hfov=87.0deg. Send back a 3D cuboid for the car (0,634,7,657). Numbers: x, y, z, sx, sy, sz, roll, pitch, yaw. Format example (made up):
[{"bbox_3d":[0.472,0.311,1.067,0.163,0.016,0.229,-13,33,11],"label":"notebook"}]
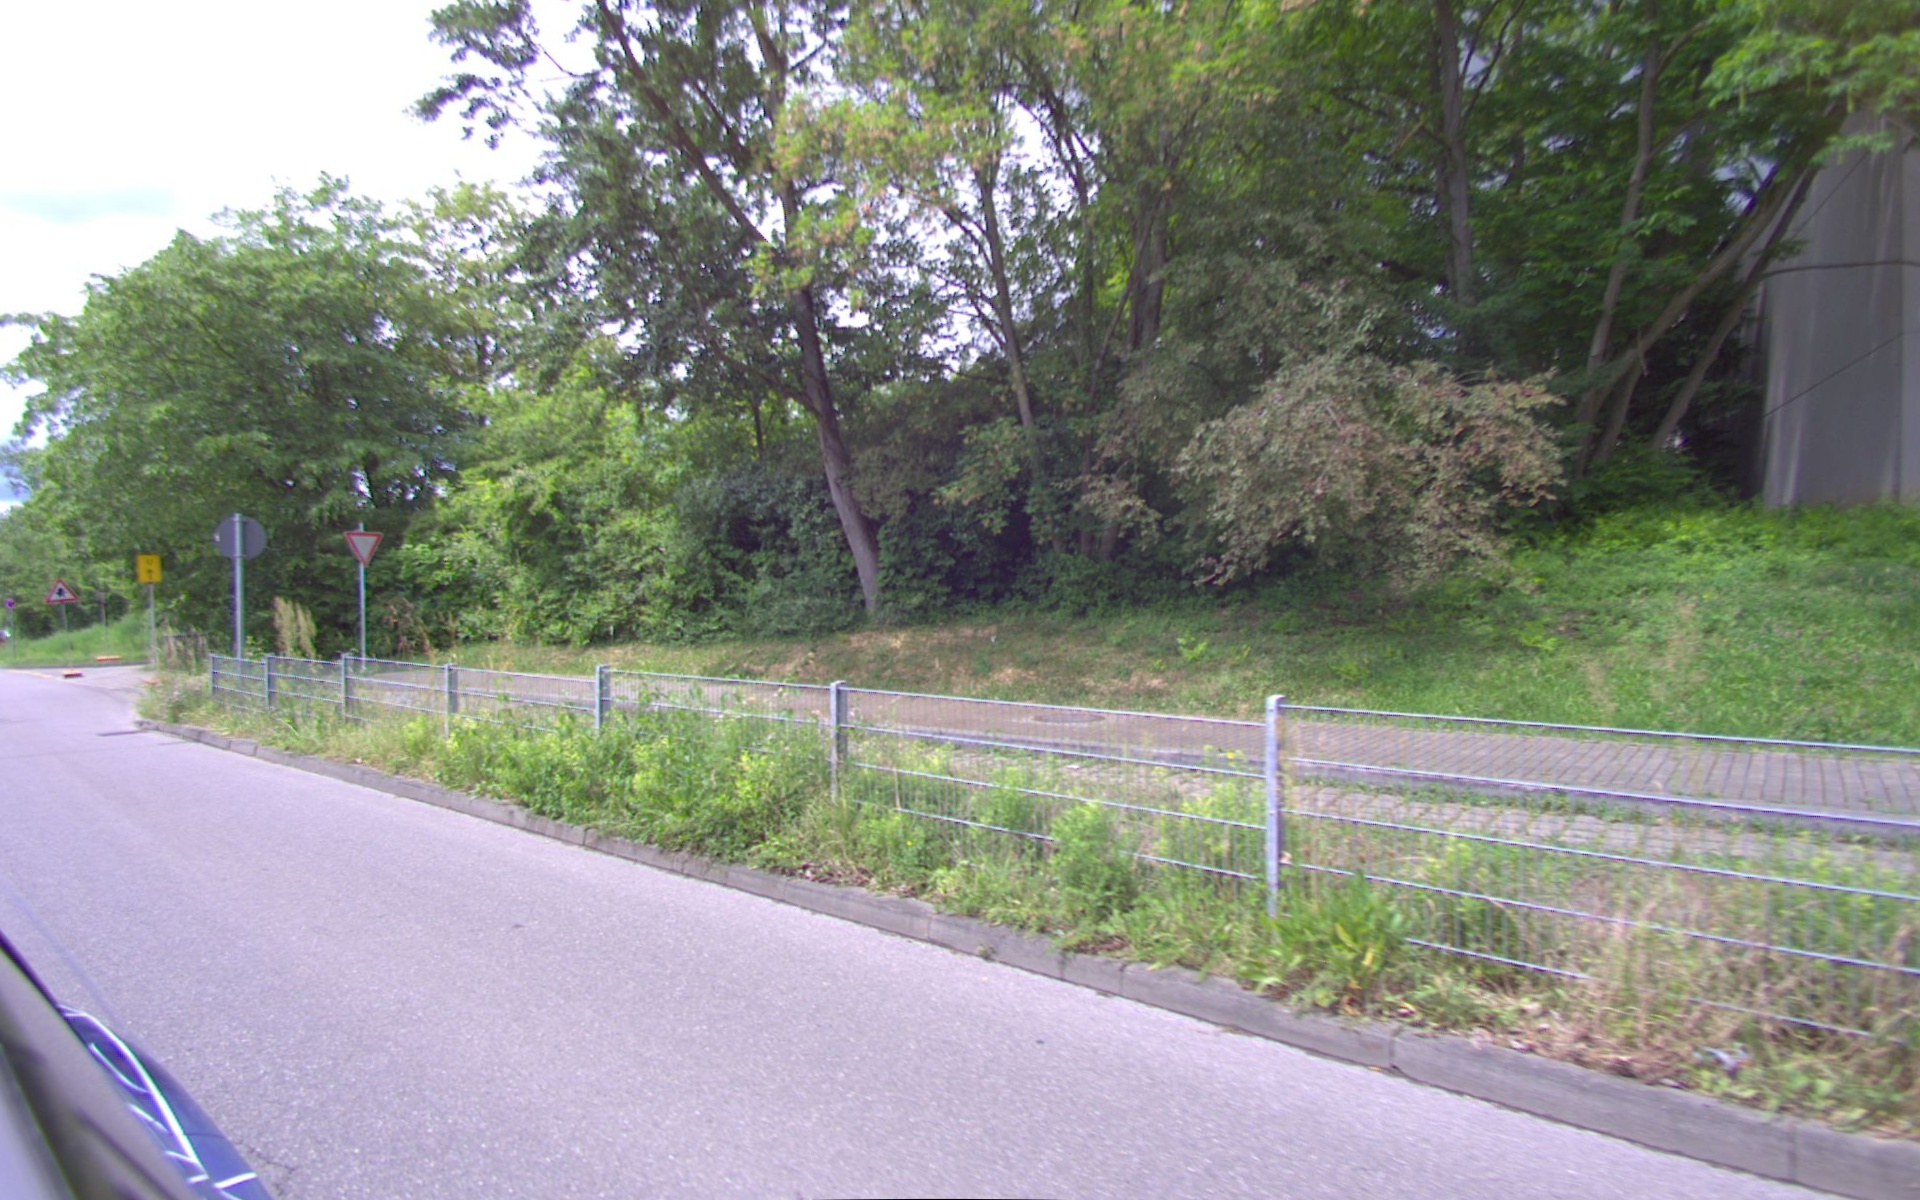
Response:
[{"bbox_3d":[-70.889,3.342,73.741,1.820,1.671,4.228,0,-2,-40],"label":"car"}]
